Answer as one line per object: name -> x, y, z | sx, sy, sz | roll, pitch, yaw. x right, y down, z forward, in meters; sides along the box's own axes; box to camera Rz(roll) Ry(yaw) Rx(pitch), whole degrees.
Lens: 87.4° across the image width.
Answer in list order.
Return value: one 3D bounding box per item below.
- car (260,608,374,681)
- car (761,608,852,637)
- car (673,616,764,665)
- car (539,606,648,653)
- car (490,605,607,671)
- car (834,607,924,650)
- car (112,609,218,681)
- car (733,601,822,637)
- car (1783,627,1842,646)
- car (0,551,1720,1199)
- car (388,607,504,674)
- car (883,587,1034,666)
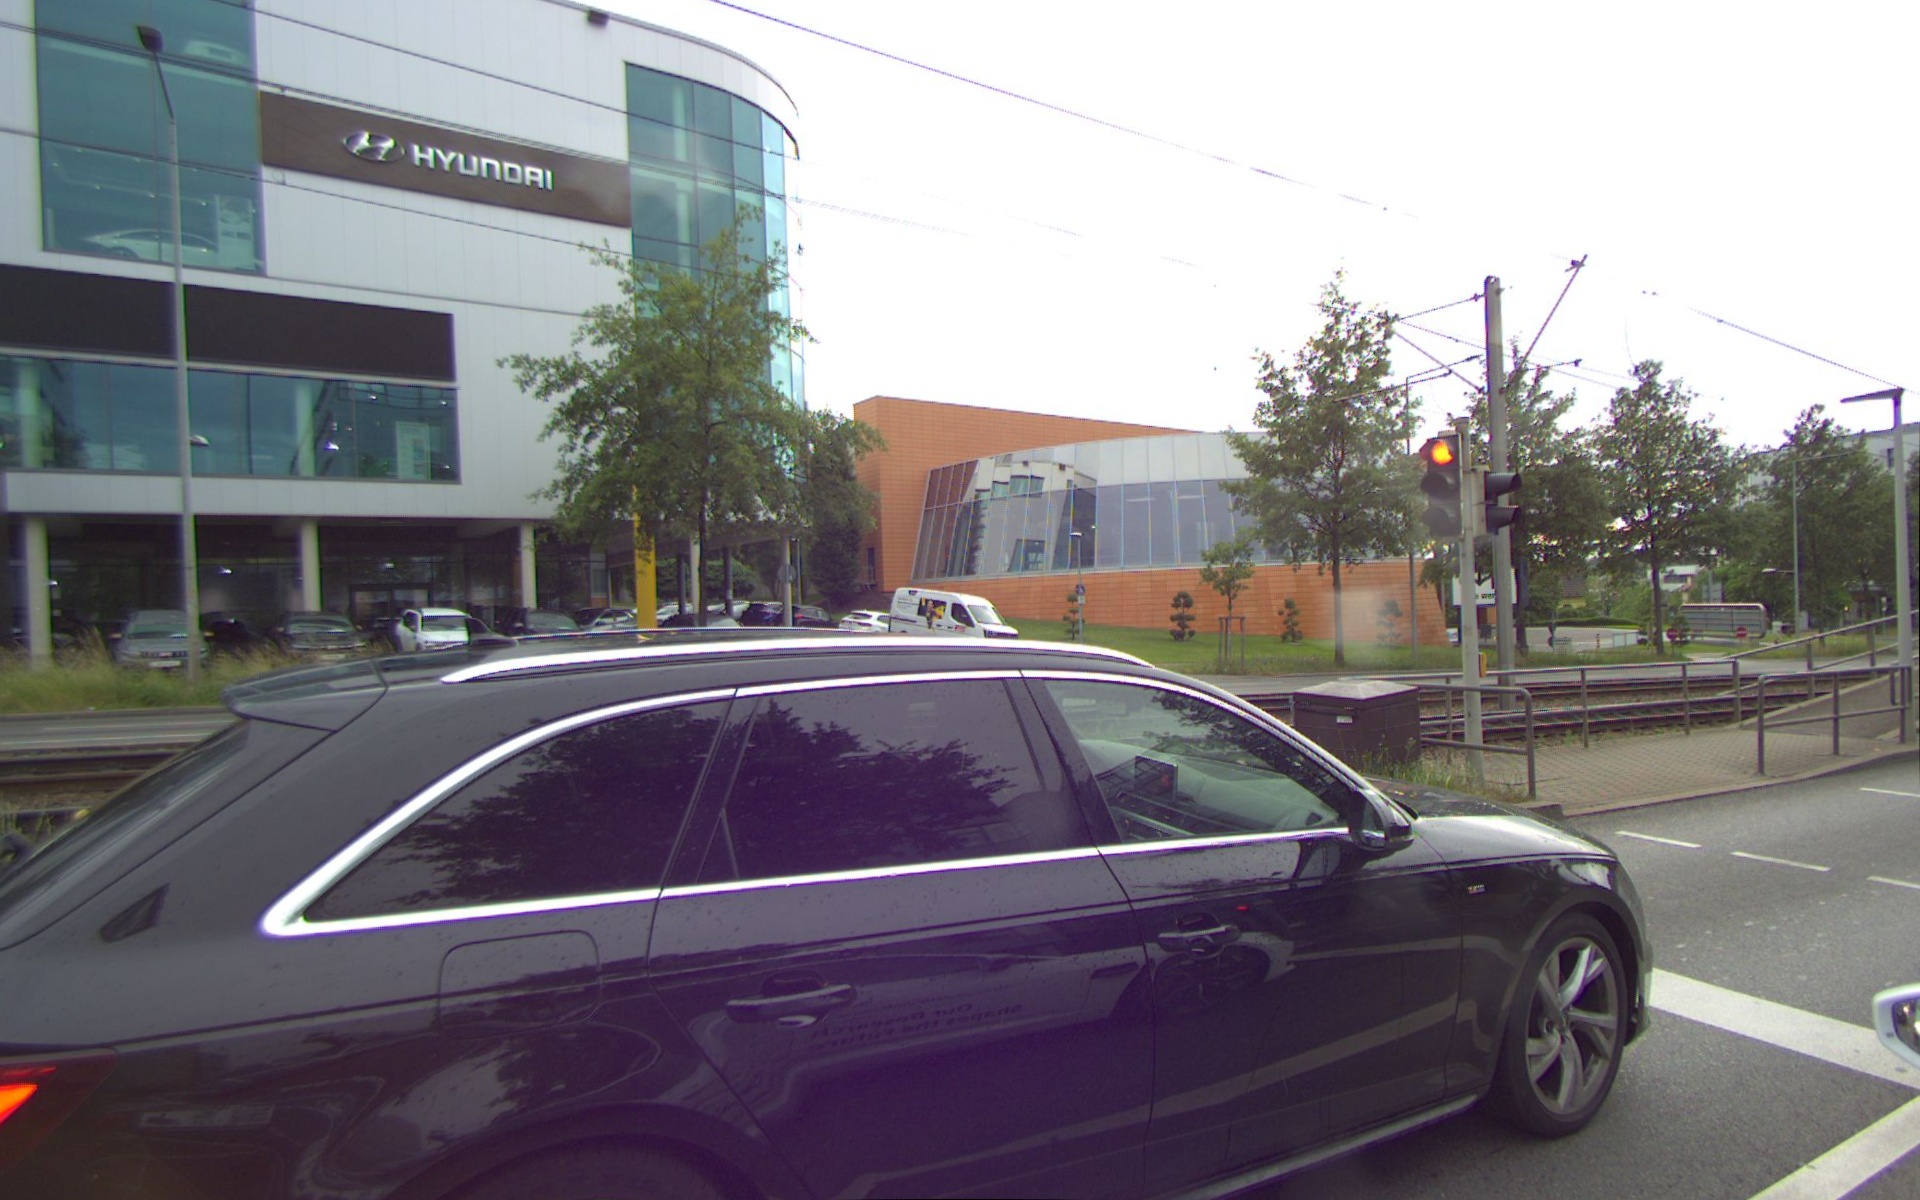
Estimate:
car -> -16.958, 1.105, 26.389 | 1.984, 1.571, 4.324 | 1, 1, -40
car -> -7.214, 1.064, 47.508 | 1.969, 1.297, 3.982 | 0, -1, 39
car -> -7.675, 1.228, 31.705 | 1.565, 1.409, 3.619 | 0, -1, -36
car -> -12.834, 1.012, 35.338 | 1.691, 1.572, 3.587 | 0, -1, 20
car -> -12.283, 1.078, 29.862 | 1.984, 1.637, 4.324 | 1, 1, -40
car -> -3.341, 1.163, 42.158 | 1.703, 1.688, 3.734 | 1, -1, 38
car -> -19.868, 1.059, 25.063 | 1.917, 1.479, 3.974 | 1, 1, -40
car -> -8.869, 0.910, 49.077 | 1.969, 1.653, 3.982 | 0, -1, 39
car -> 66.746, 2.854, 78.694 | 1.408, 1.405, 3.371 | 0, 0, -13
car -> 0.093, 0.722, 2.868 | 4.461, 1.486, 1.772 | 1, -1, -31
car -> -14.501, 1.074, 28.245 | 1.984, 1.571, 4.324 | 1, 1, -40
car -> -0.121, 0.915, 38.108 | 5.544, 2.616, 2.392 | 3, 1, 43
